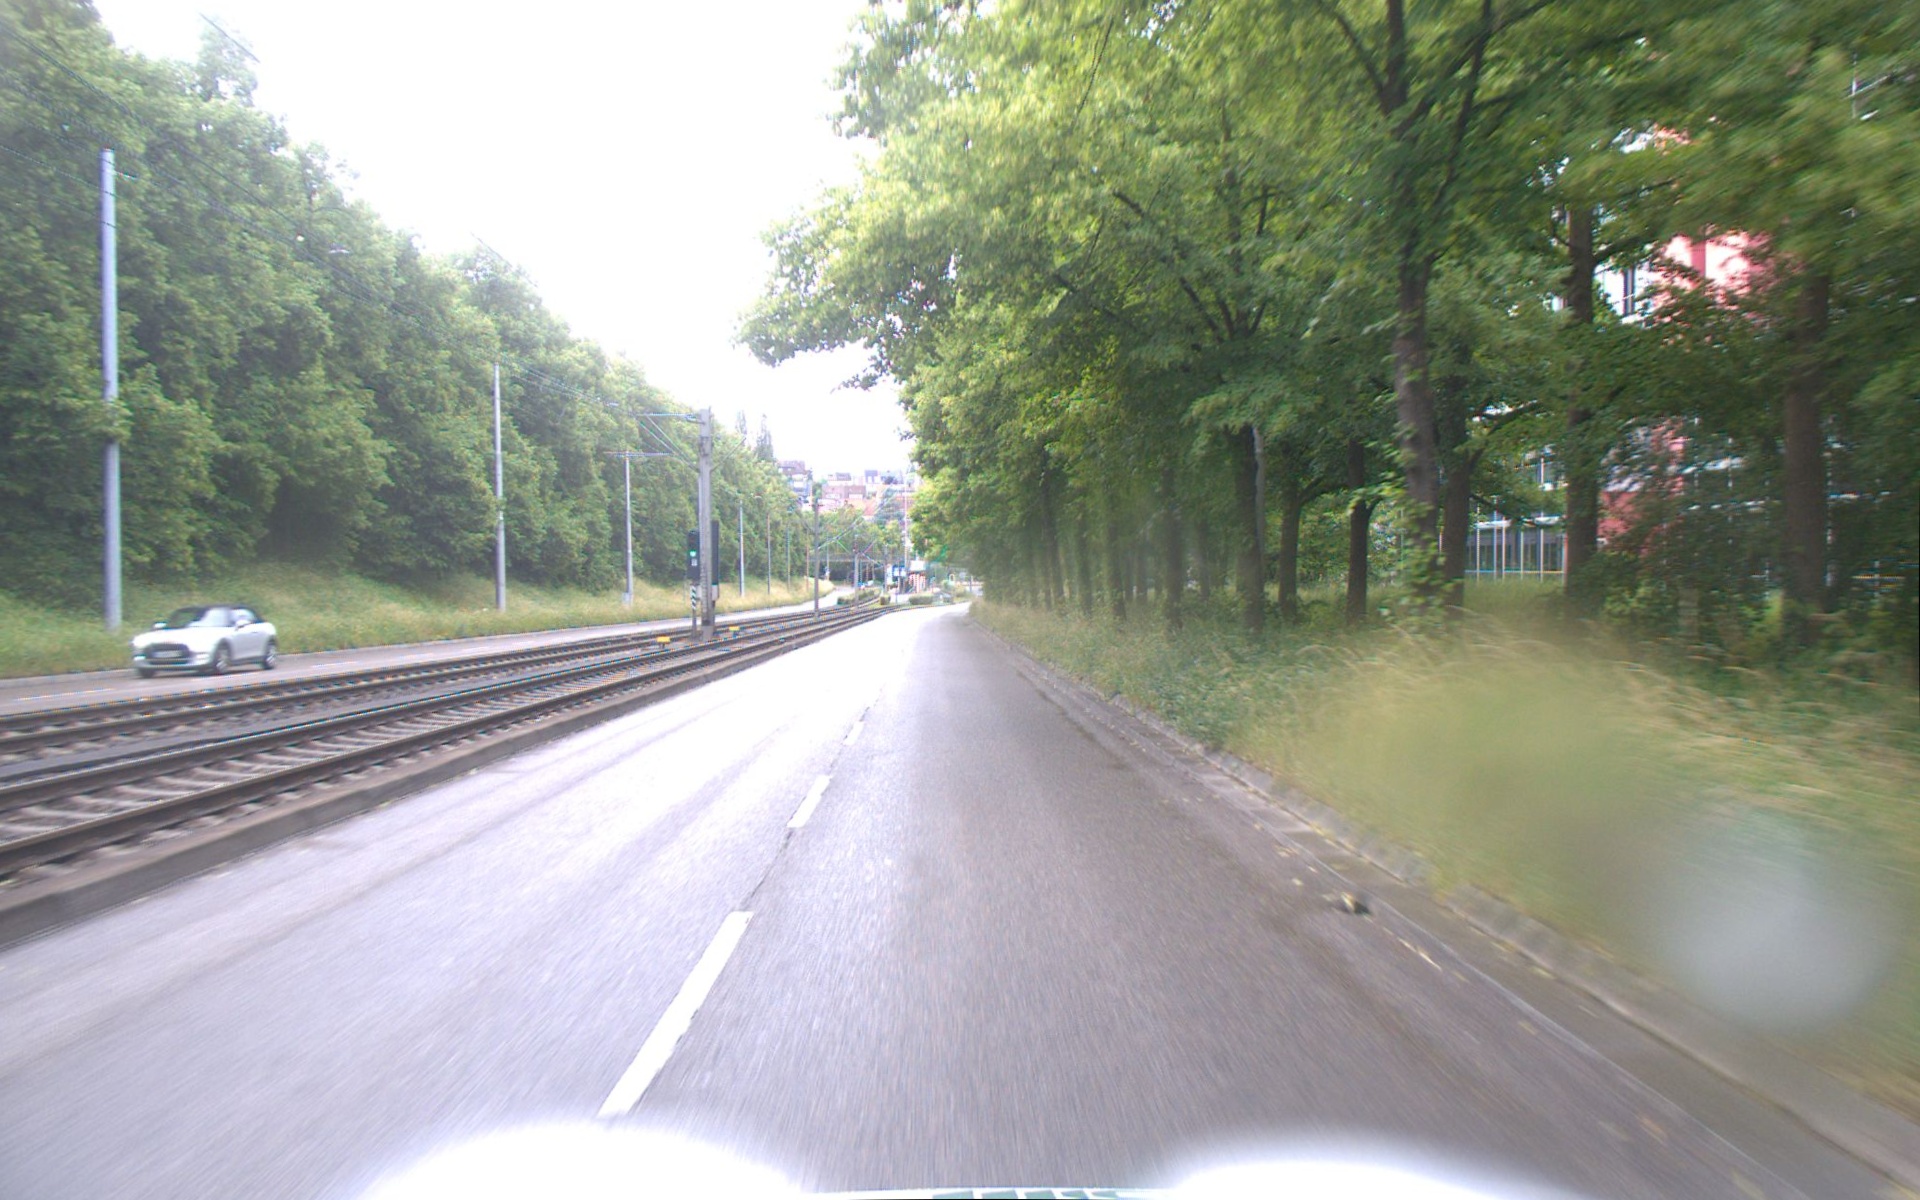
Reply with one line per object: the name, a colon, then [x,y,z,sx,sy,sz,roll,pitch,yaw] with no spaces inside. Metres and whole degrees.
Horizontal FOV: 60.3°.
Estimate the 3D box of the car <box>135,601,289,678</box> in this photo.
car: [-15.686,0.792,34.877,1.446,1.461,3.909,-2,0,0]
